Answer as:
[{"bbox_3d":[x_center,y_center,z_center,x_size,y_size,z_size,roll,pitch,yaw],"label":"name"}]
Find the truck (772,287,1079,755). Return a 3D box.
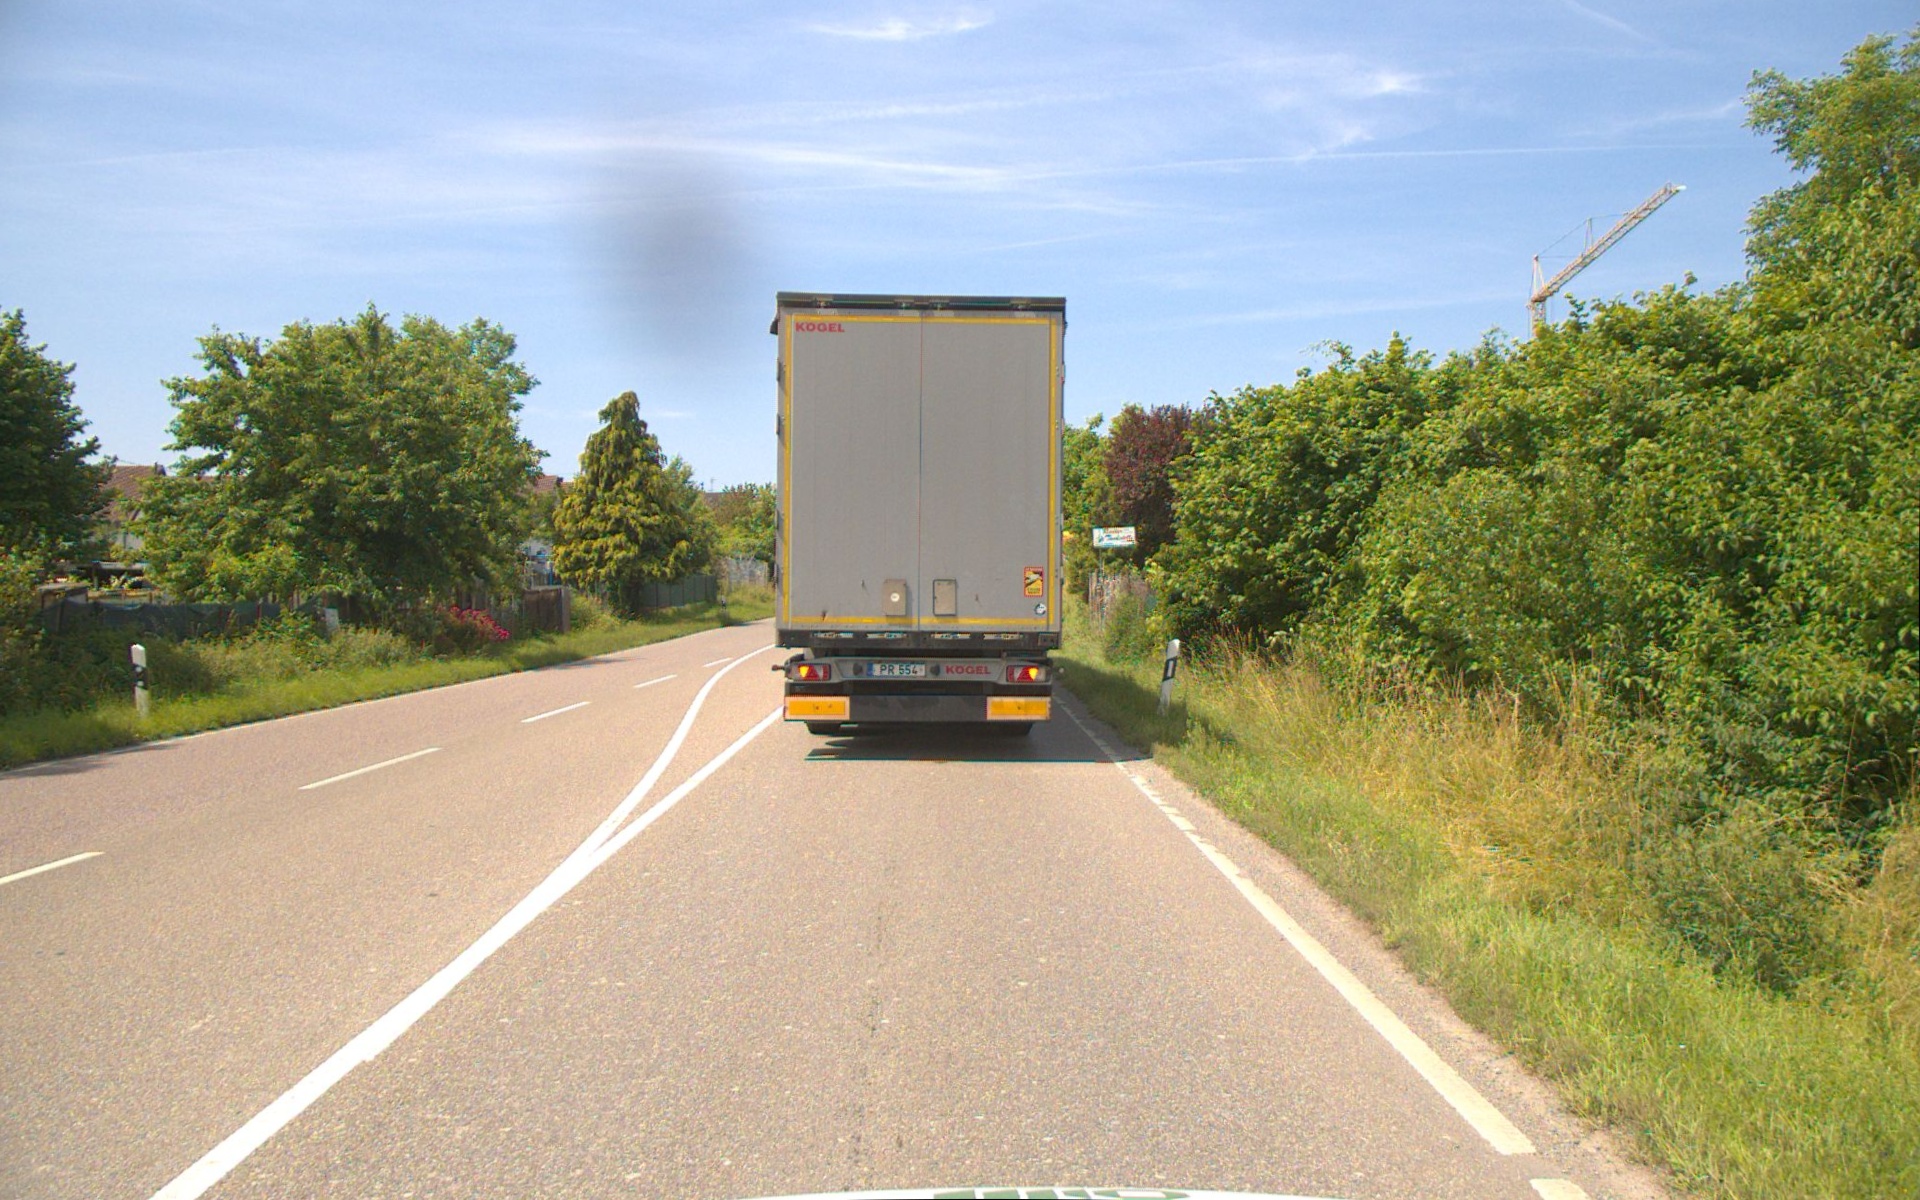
[{"bbox_3d":[-0.450,-0.699,18.565,2.594,3.985,8.821,0,0,-2],"label":"truck"}]
